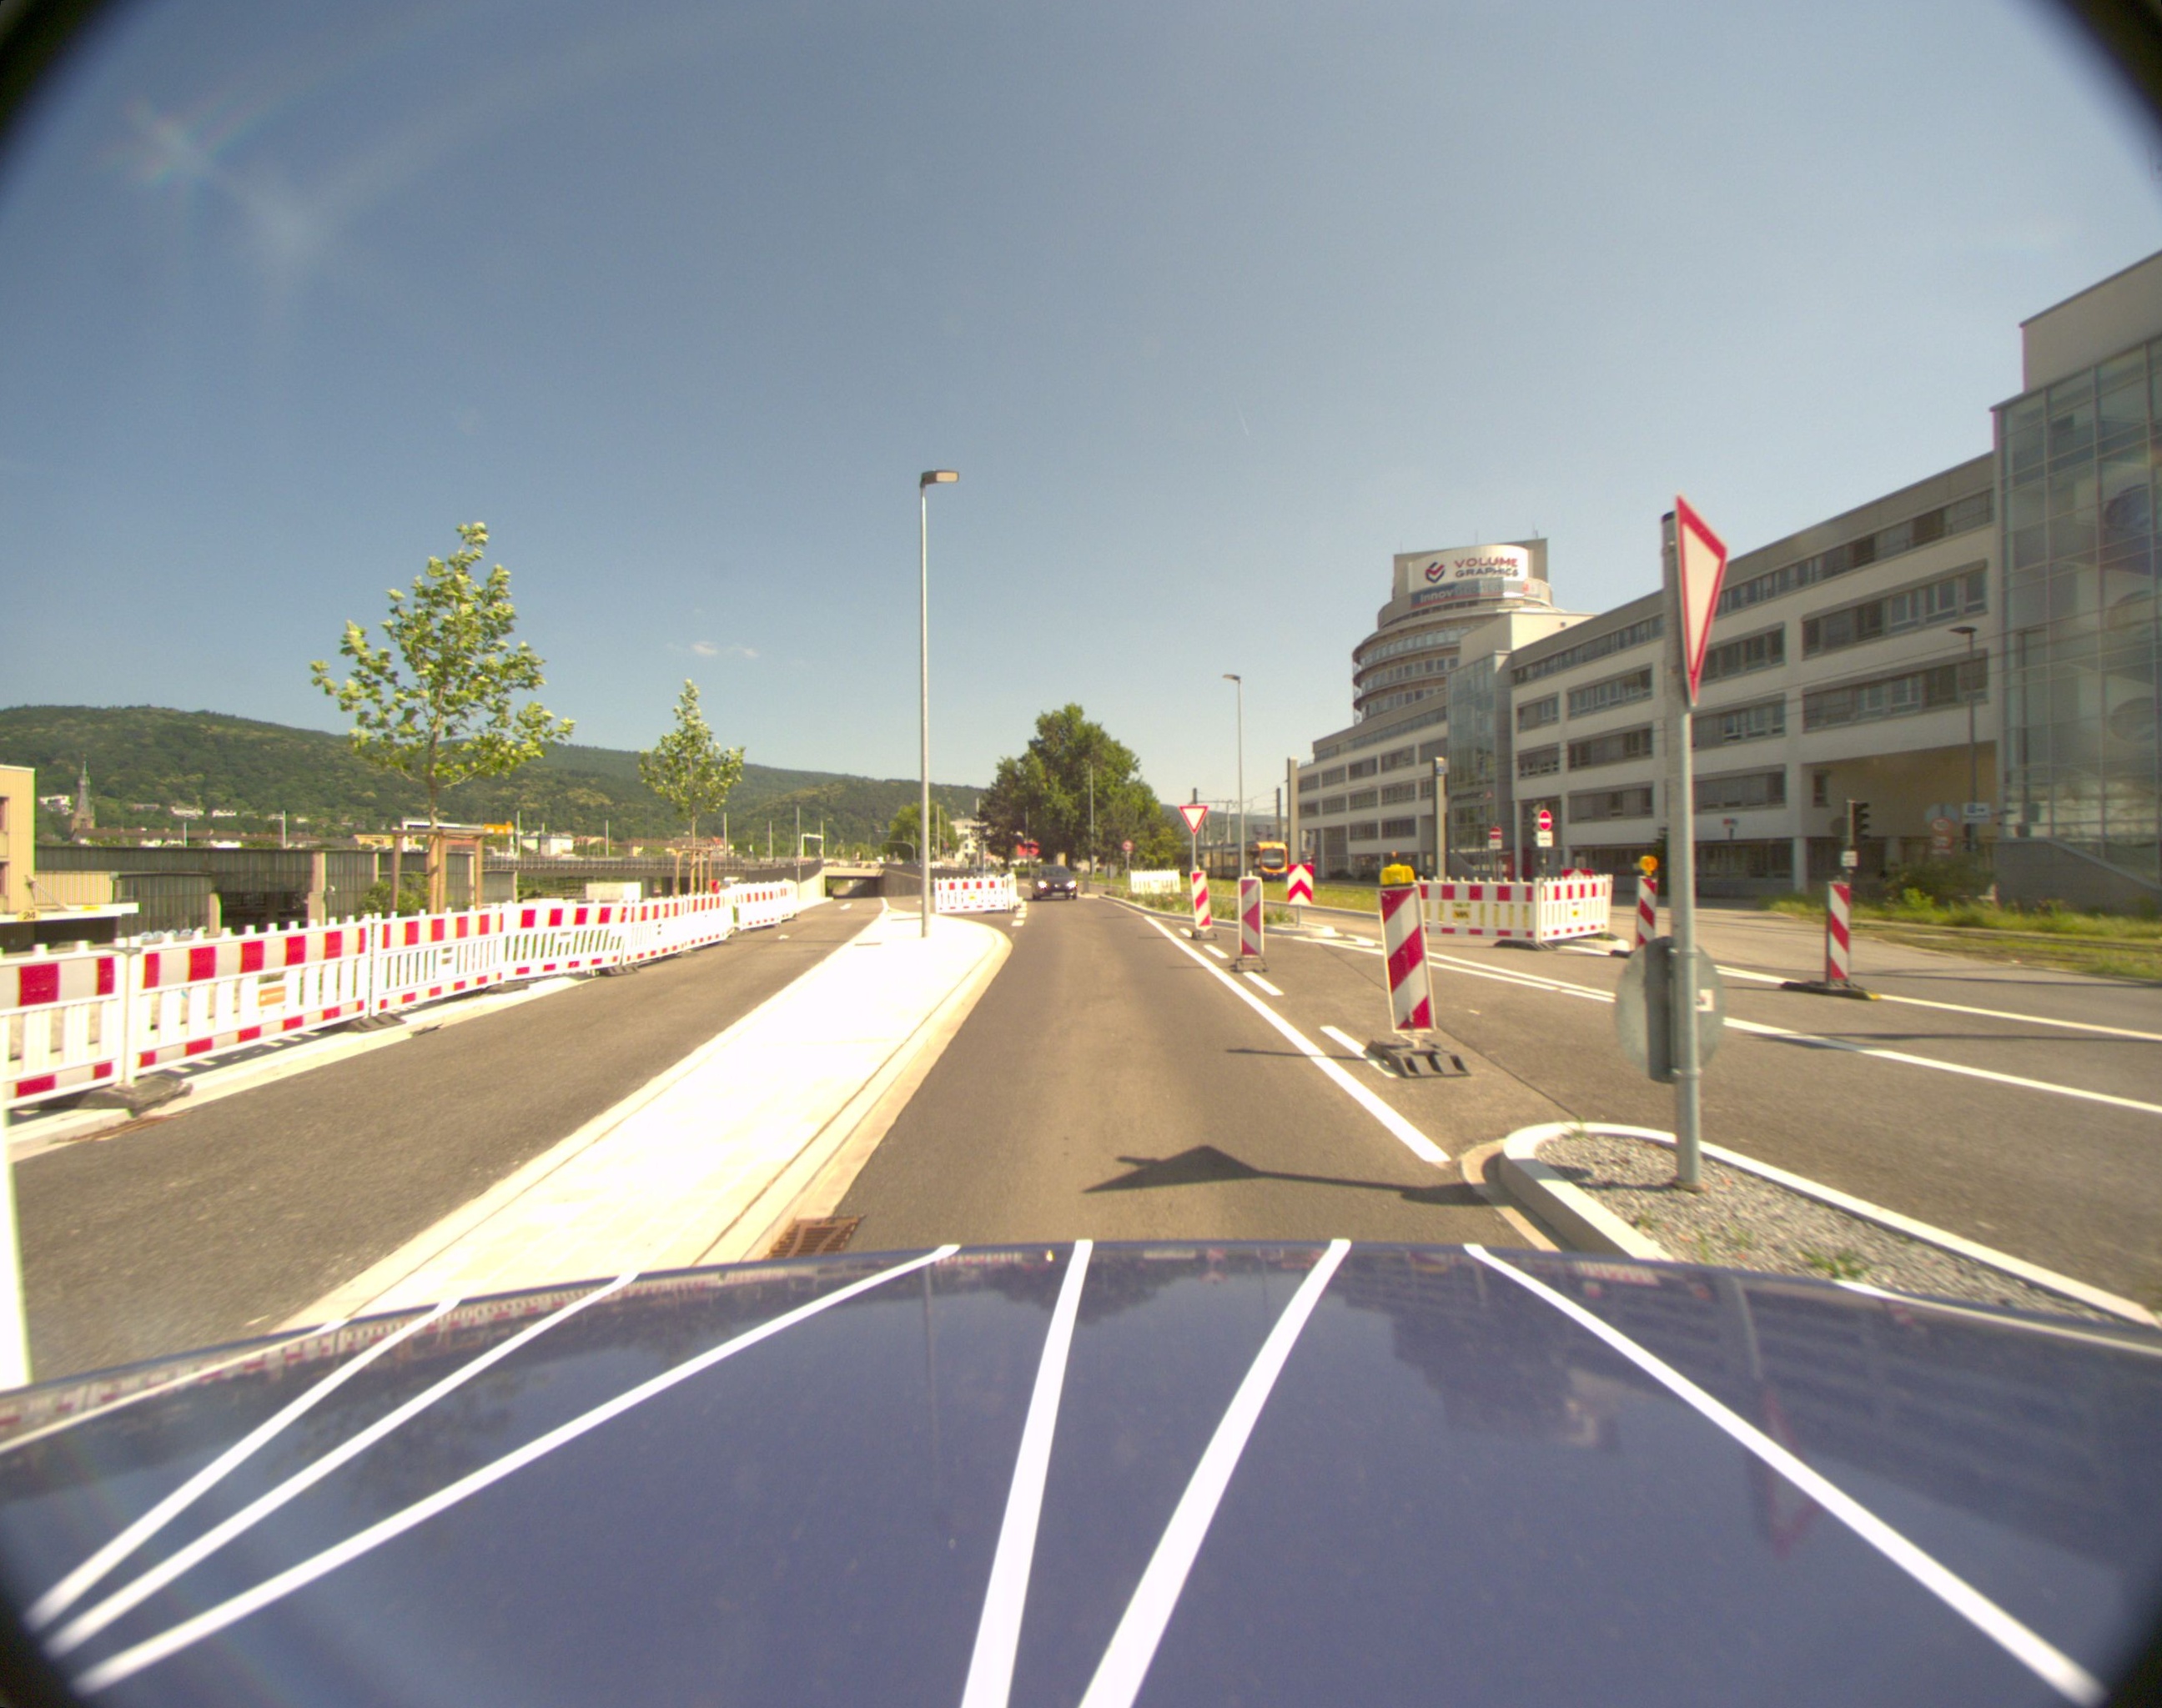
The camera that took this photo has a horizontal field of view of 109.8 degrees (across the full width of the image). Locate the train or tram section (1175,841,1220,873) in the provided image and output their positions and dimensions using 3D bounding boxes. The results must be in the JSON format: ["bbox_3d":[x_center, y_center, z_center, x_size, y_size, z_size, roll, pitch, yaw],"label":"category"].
[{"bbox_3d":[13.791,0.369,91.168,2.632,3.430,11.777,-2,0,-4],"label":"train or tram section"}]

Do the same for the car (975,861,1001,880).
[{"bbox_3d":[-7.521,1.330,61.157,1.620,1.433,3.763,-1,0,-15],"label":"car"}]

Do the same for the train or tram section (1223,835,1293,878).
[{"bbox_3d":[15.465,0.218,67.671,2.632,3.430,11.777,-2,0,-4],"label":"train or tram section"}]

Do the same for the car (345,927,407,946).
[{"bbox_3d":[-72.282,8.470,77.978,4.369,1.576,1.745,-1,1,-8],"label":"car"}]

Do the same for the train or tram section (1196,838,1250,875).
[{"bbox_3d":[14.634,0.292,79.416,2.632,3.430,11.777,-2,0,-4],"label":"train or tram section"}]

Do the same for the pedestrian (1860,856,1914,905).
[{"bbox_3d":[30.808,1.002,29.061,0.767,1.815,1.108,-3,-1,-6],"label":"pedestrian"}]

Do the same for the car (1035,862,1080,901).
[{"bbox_3d":[-1.001,1.072,31.009,1.619,1.433,3.705,-1,0,-5],"label":"car"}]

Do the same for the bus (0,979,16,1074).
[{"bbox_3d":[-53.158,7.453,34.920,17.431,3.742,2.670,-1,1,28],"label":"bus"}]

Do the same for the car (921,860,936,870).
[{"bbox_3d":[-22.640,1.610,112.984,1.621,1.433,3.761,-1,0,-20],"label":"car"}]

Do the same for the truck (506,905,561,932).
[{"bbox_3d":[-72.489,8.455,100.786,2.000,2.741,8.388,-1,0,-7],"label":"truck"}]
